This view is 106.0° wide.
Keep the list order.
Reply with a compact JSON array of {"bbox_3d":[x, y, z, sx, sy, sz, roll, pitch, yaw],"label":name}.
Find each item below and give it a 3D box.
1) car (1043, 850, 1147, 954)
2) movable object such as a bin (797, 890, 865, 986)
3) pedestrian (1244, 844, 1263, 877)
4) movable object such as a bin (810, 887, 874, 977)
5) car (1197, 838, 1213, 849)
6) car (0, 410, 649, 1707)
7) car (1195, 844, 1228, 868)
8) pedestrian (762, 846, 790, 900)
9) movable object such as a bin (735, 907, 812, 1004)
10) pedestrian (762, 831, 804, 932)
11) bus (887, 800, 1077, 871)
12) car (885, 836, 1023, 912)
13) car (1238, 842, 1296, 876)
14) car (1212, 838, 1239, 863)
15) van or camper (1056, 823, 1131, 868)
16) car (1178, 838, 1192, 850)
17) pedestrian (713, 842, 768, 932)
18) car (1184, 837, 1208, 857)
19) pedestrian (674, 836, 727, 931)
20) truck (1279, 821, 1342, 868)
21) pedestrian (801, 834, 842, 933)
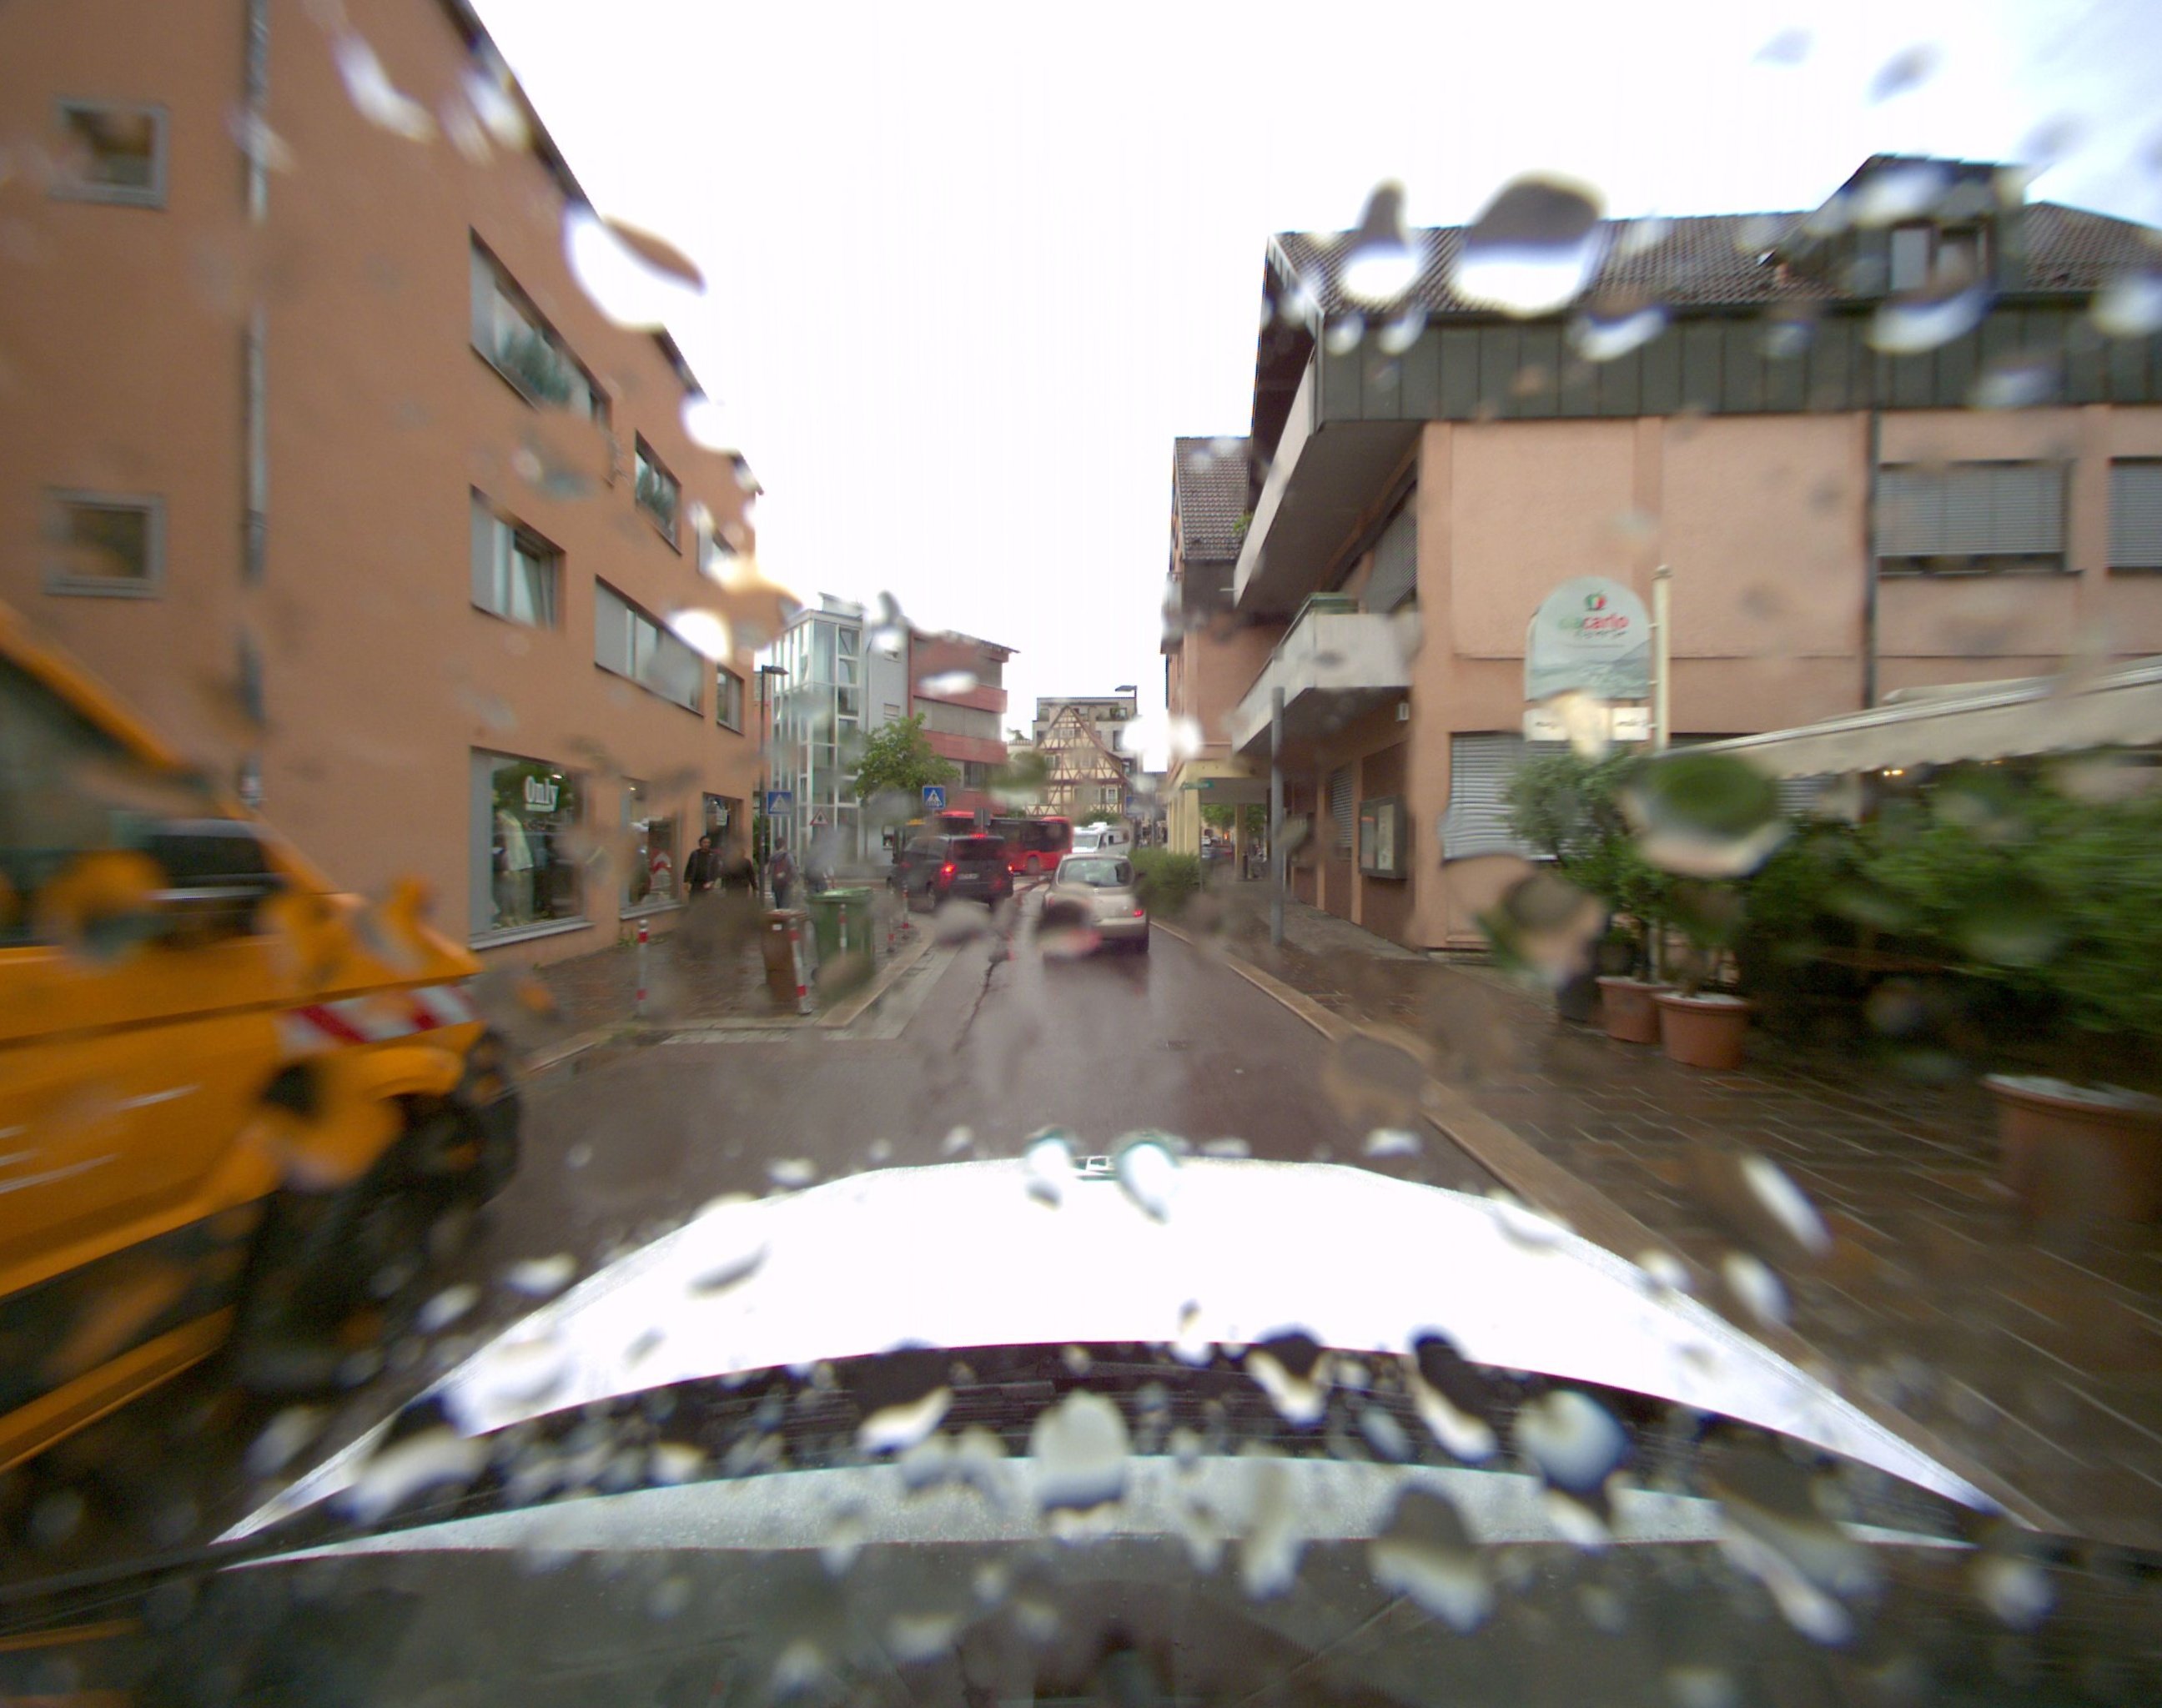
[{"bbox_3d":[0.149,0.694,13.603,1.518,1.470,3.339,0,1,-2],"label":"car"},{"bbox_3d":[-2.893,0.954,9.477,0.656,1.036,0.608,0,0,-7],"label":"movable object such as a bin"},{"bbox_3d":[8.787,0.312,41.522,0.689,1.661,0.826,0,0,34],"label":"pedestrian"},{"bbox_3d":[-2.970,0.958,10.159,0.656,1.036,0.608,-1,0,-7],"label":"movable object such as a bin"},{"bbox_3d":[16.117,-1.352,106.292,1.887,1.508,3.916,0,0,6],"label":"car"},{"bbox_3d":[-2.886,0.376,0.347,1.985,2.239,5.866,0,0,3],"label":"car"},{"bbox_3d":[7.810,0.100,48.565,1.525,1.362,3.388,0,1,17],"label":"car"},{"bbox_3d":[-9.245,0.554,24.686,0.659,1.610,0.682,0,0,-8],"label":"pedestrian"},{"bbox_3d":[-3.147,1.025,8.360,0.579,0.927,0.482,0,0,2],"label":"movable object such as a bin"},{"bbox_3d":[-5.557,0.486,15.141,0.695,1.800,1.051,0,0,-22],"label":"pedestrian"},{"bbox_3d":[-4.546,-0.924,40.626,2.786,3.088,10.675,2,2,37],"label":"bus"},{"bbox_3d":[-3.493,0.480,21.519,1.959,1.781,4.679,0,0,-31],"label":"car"},{"bbox_3d":[7.556,0.185,33.510,1.754,1.276,4.478,0,0,5],"label":"car"},{"bbox_3d":[9.467,-0.254,53.558,1.614,1.500,4.011,-3,0,10],"label":"car"},{"bbox_3d":[0.898,-0.530,50.345,2.417,2.585,6.786,1,0,21],"label":"van or camper"},{"bbox_3d":[14.326,-1.375,112.065,1.887,1.508,3.916,0,0,6],"label":"car"},{"bbox_3d":[-6.385,0.598,15.304,0.714,1.639,0.744,1,0,-5],"label":"pedestrian"},{"bbox_3d":[9.356,-0.580,66.459,1.887,1.574,4.007,0,0,6],"label":"car"},{"bbox_3d":[-7.063,0.533,15.148,0.621,1.712,0.807,1,0,-5],"label":"pedestrian"},{"bbox_3d":[9.410,-0.388,33.682,1.754,1.808,4.005,0,0,5],"label":"truck"},{"bbox_3d":[-4.938,0.533,15.459,0.666,1.806,1.053,0,0,-22],"label":"pedestrian"}]
